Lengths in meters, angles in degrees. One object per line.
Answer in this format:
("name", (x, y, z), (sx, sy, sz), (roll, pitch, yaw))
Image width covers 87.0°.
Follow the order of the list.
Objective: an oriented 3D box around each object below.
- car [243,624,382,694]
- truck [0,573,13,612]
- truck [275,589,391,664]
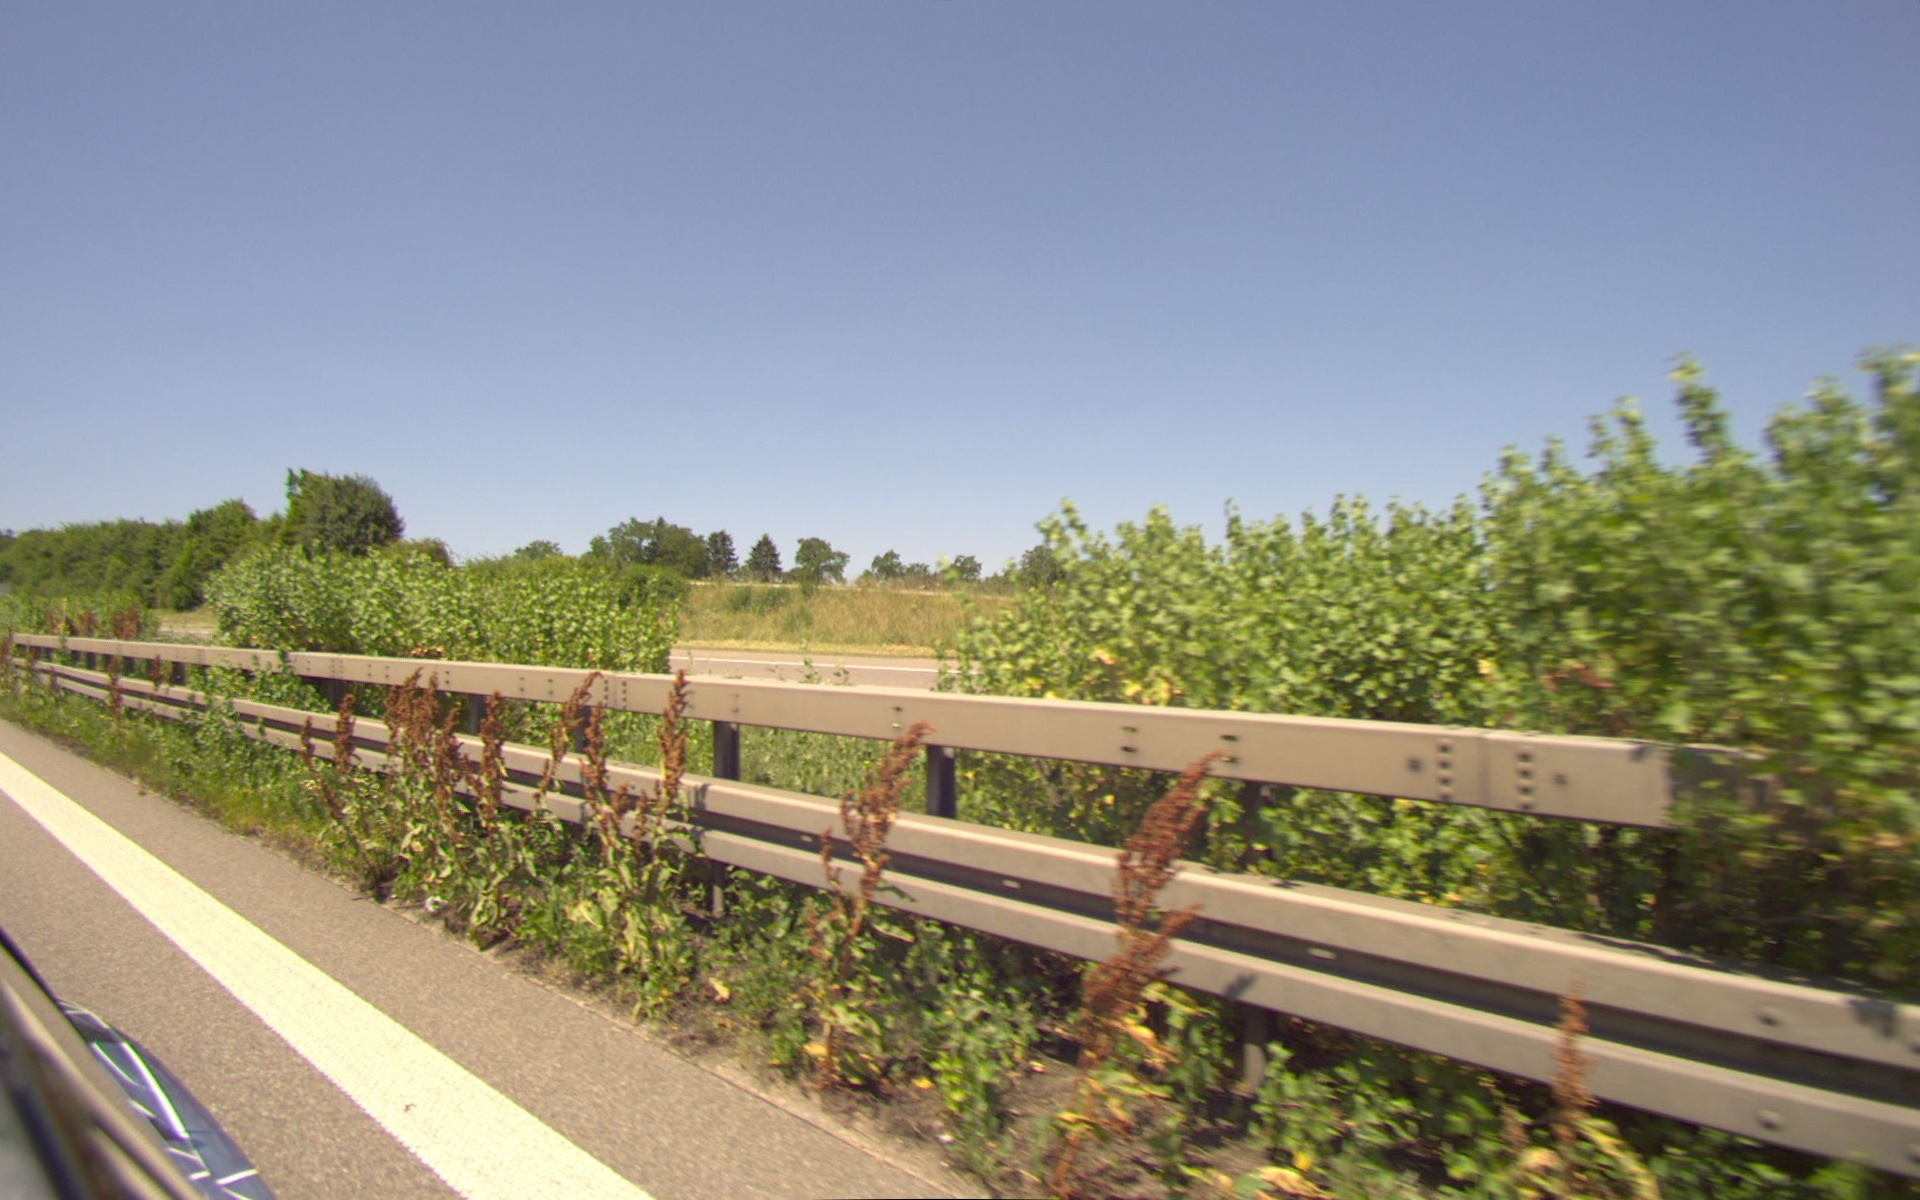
("car", (-15.608, 1.374, 24.334), (3.998, 1.519, 1.763), (-2, -1, 41))
("truck", (-106.843, -0.737, 110.254), (16.807, 4.044, 2.946), (-1, 0, 39))
("truck", (-22.618, 0.915, 36.385), (5.560, 2.506, 1.999), (-1, -1, 41))
